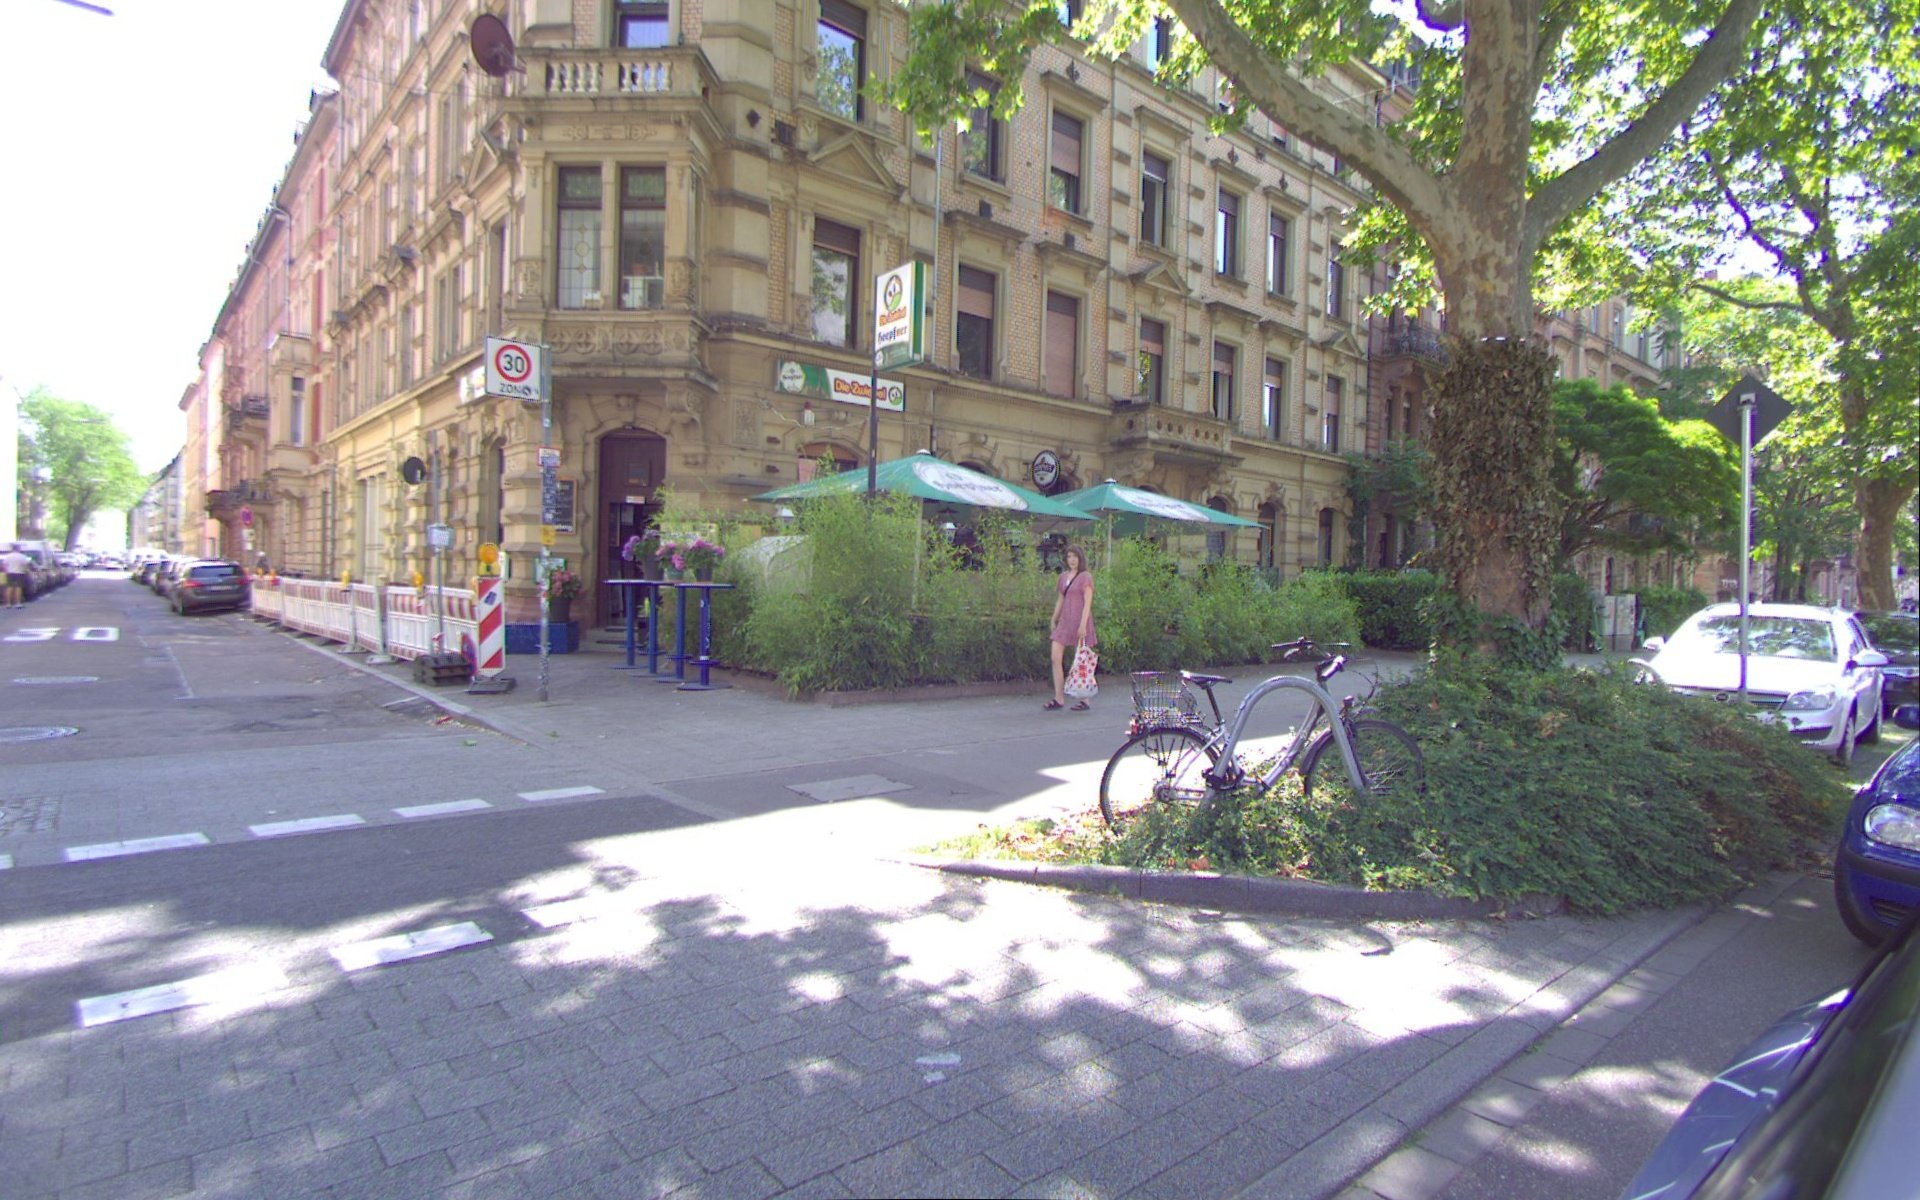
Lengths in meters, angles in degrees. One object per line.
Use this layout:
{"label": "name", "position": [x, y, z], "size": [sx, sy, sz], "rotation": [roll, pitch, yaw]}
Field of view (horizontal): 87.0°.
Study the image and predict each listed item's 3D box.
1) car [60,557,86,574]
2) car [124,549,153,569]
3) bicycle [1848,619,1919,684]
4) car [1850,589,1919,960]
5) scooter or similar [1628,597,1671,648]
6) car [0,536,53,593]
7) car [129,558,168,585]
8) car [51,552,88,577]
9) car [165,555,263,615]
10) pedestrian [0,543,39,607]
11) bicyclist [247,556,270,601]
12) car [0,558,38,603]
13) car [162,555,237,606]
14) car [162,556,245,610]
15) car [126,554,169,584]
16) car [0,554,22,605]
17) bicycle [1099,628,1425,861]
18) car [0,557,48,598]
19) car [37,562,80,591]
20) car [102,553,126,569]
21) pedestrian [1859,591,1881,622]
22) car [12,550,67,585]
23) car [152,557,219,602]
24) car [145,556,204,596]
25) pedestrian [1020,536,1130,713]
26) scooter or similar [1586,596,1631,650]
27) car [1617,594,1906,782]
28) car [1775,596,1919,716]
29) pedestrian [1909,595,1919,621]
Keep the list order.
{"label": "car", "position": [-77.416, -3.029, 88.354], "size": [1.641, 1.419, 3.357], "rotation": [0, 1, -40]}
{"label": "car", "position": [-75.696, -3.788, 93.225], "size": [1.965, 1.760, 3.995], "rotation": [1, 1, -41]}
{"label": "bicycle", "position": [16.855, 0.921, 17.921], "size": [1.615, 1.102, 0.469], "rotation": [2, 1, 17]}
{"label": "car", "position": [5.723, 0.708, 4.622], "size": [4.020, 1.427, 1.886], "rotation": [0, 1, -40]}
{"label": "scooter or similar", "position": [17.945, 0.576, 26.332], "size": [1.124, 1.298, 0.583], "rotation": [1, 1, -39]}
{"label": "car", "position": [-41.397, -1.560, 44.601], "size": [1.879, 2.403, 4.244], "rotation": [1, 1, -39]}
{"label": "car", "position": [-55.527, -1.949, 69.200], "size": [1.965, 1.760, 3.995], "rotation": [0, 1, -41]}
{"label": "car", "position": [-64.442, -2.599, 73.253], "size": [1.879, 1.731, 4.157], "rotation": [1, 1, -40]}
{"label": "car", "position": [-21.404, -0.462, 28.990], "size": [1.965, 1.571, 3.995], "rotation": [0, 2, -41]}
{"label": "pedestrian", "position": [-27.397, -0.718, 29.407], "size": [0.921, 1.821, 1.036], "rotation": [1, 1, -44]}
{"label": "bicyclist", "position": [-23.322, -0.711, 33.648], "size": [0.524, 1.471, 0.460], "rotation": [1, 1, -44]}
{"label": "car", "position": [-34.216, -0.726, 36.231], "size": [1.698, 1.548, 3.490], "rotation": [0, 1, -42]}
{"label": "car", "position": [-28.329, -0.743, 37.641], "size": [1.965, 1.760, 3.995], "rotation": [0, 1, -41]}
{"label": "car", "position": [-25.325, -0.593, 33.817], "size": [1.965, 1.660, 3.995], "rotation": [0, 2, -41]}
{"label": "car", "position": [-51.001, -1.954, 63.484], "size": [1.965, 1.760, 3.995], "rotation": [0, 1, -41]}
{"label": "car", "position": [-30.758, -0.680, 31.843], "size": [1.698, 1.548, 3.490], "rotation": [1, 1, -42]}
{"label": "bicycle", "position": [1.568, 0.728, 5.300], "size": [1.583, 1.119, 0.423], "rotation": [1, 1, -10]}
{"label": "car", "position": [-38.024, -0.930, 40.857], "size": [1.698, 1.548, 3.490], "rotation": [1, 1, -42]}
{"label": "car", "position": [-57.832, -1.517, 64.976], "size": [1.879, 1.731, 4.159], "rotation": [1, 1, -39]}
{"label": "car", "position": [-92.823, -4.277, 111.069], "size": [1.965, 1.760, 3.995], "rotation": [1, 1, -41]}
{"label": "pedestrian", "position": [52.247, 0.375, 58.082], "size": [0.951, 1.740, 0.796], "rotation": [1, 1, -41]}
{"label": "car", "position": [-48.618, -1.735, 53.522], "size": [1.879, 1.731, 4.159], "rotation": [1, 1, -39]}
{"label": "car", "position": [-32.009, -0.861, 41.800], "size": [1.965, 1.760, 3.995], "rotation": [0, 1, -41]}
{"label": "car", "position": [-36.251, -1.133, 46.674], "size": [1.965, 1.760, 3.995], "rotation": [0, 1, -41]}
{"label": "pedestrian", "position": [1.242, 0.239, 10.923], "size": [0.837, 1.807, 0.738], "rotation": [1, 3, -41]}
{"label": "scooter or similar", "position": [15.825, 0.546, 24.698], "size": [1.124, 1.263, 0.583], "rotation": [1, 1, -40]}
{"label": "car", "position": [8.632, 0.742, 10.738], "size": [4.418, 1.527, 1.835], "rotation": [0, 2, -44]}
{"label": "car", "position": [13.972, 0.752, 15.204], "size": [4.561, 1.527, 1.837], "rotation": [0, 2, -40]}
{"label": "pedestrian", "position": [64.740, 0.524, 68.378], "size": [0.951, 1.740, 0.796], "rotation": [1, 1, -41]}
